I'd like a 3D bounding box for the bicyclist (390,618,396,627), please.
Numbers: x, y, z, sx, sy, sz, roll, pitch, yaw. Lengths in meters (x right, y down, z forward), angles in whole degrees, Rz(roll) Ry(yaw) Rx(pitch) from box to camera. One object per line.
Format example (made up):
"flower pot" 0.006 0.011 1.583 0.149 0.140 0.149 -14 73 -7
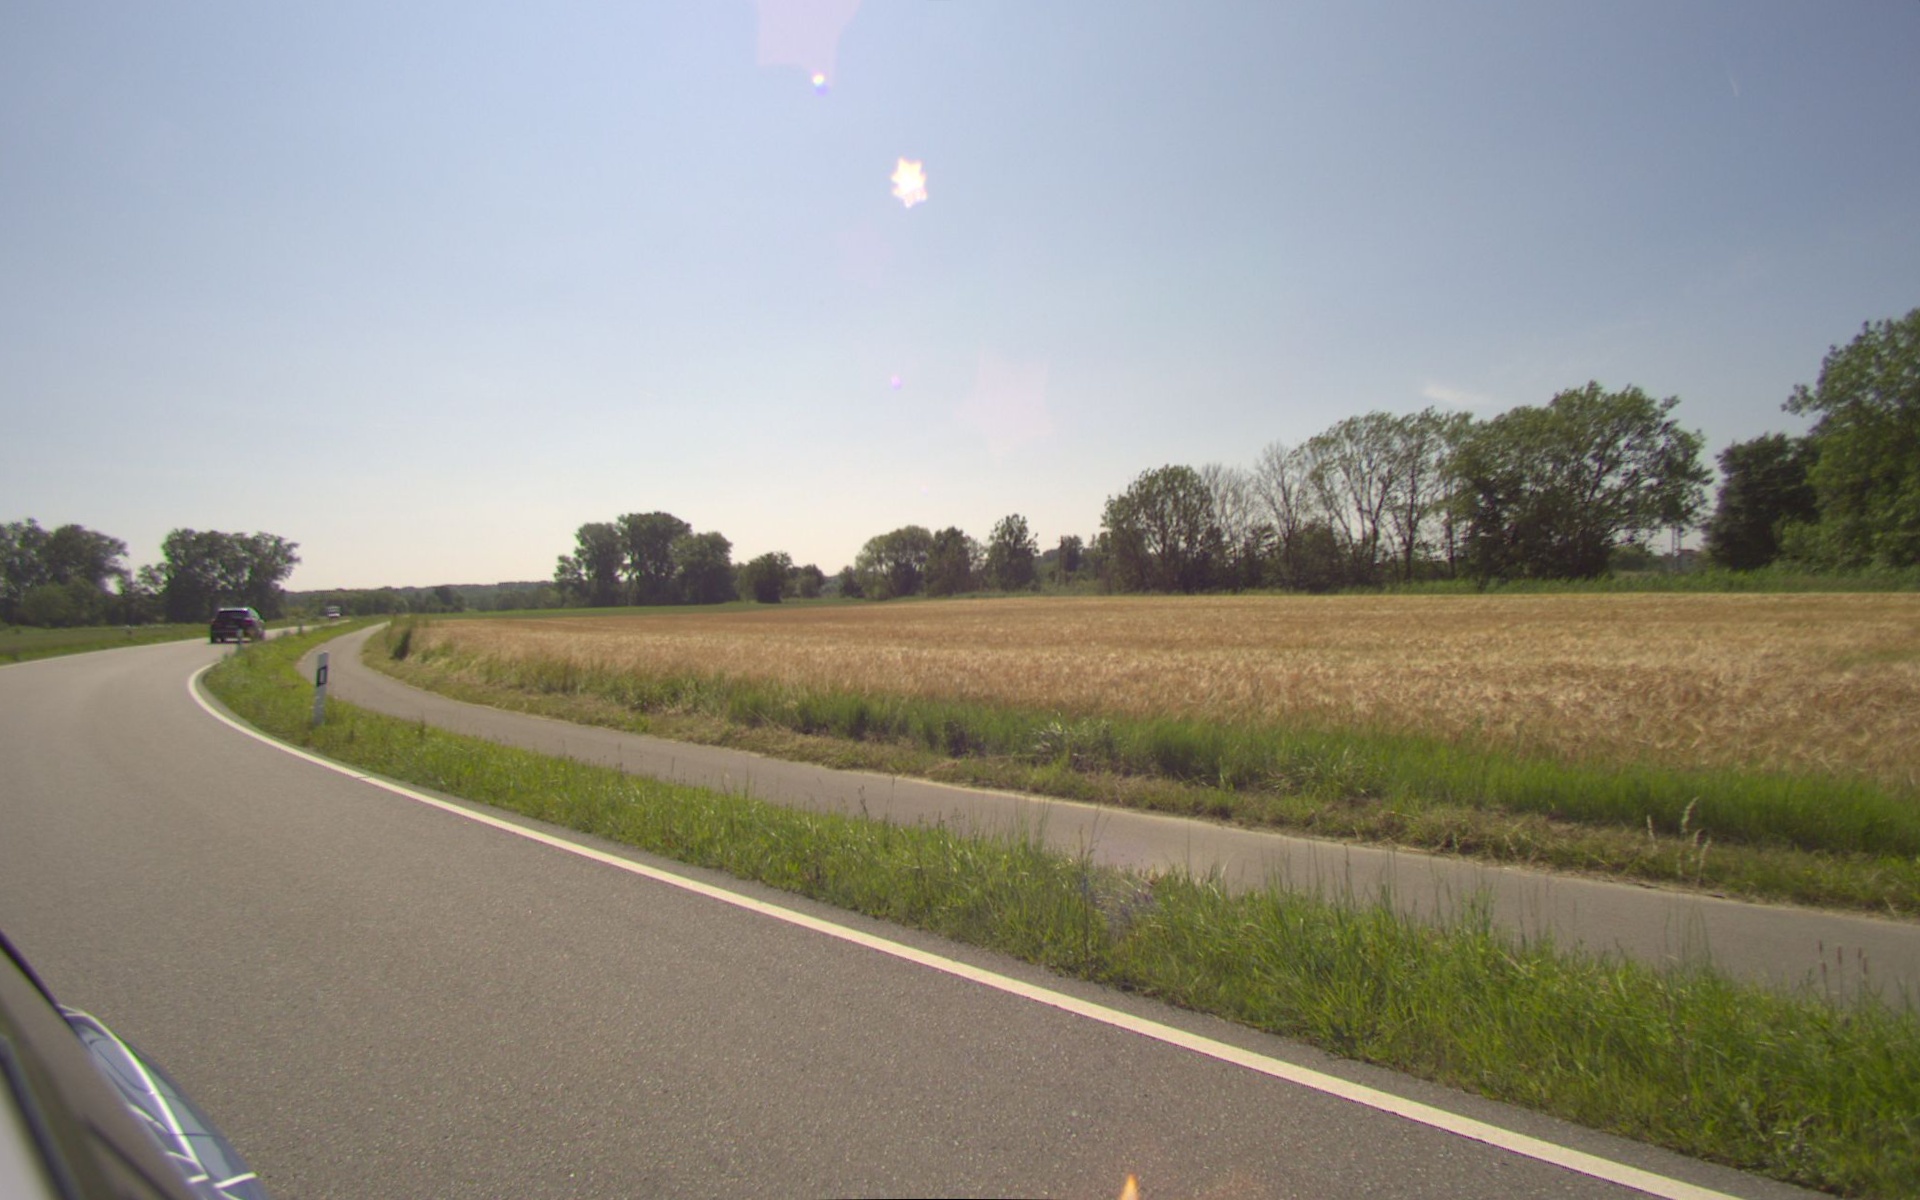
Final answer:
"bicyclist" -98.848 3.869 176.421 0.731 1.507 1.006 -2 0 -28

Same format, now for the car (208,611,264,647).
"car" -36.692 1.469 51.389 1.860 1.728 4.026 -1 -1 -29

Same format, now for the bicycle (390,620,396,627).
"bicycle" -98.828 4.146 176.423 0.731 1.180 2.089 -2 0 -28

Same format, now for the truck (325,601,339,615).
"truck" -129.729 1.620 209.165 1.966 2.859 5.234 -2 0 -28
